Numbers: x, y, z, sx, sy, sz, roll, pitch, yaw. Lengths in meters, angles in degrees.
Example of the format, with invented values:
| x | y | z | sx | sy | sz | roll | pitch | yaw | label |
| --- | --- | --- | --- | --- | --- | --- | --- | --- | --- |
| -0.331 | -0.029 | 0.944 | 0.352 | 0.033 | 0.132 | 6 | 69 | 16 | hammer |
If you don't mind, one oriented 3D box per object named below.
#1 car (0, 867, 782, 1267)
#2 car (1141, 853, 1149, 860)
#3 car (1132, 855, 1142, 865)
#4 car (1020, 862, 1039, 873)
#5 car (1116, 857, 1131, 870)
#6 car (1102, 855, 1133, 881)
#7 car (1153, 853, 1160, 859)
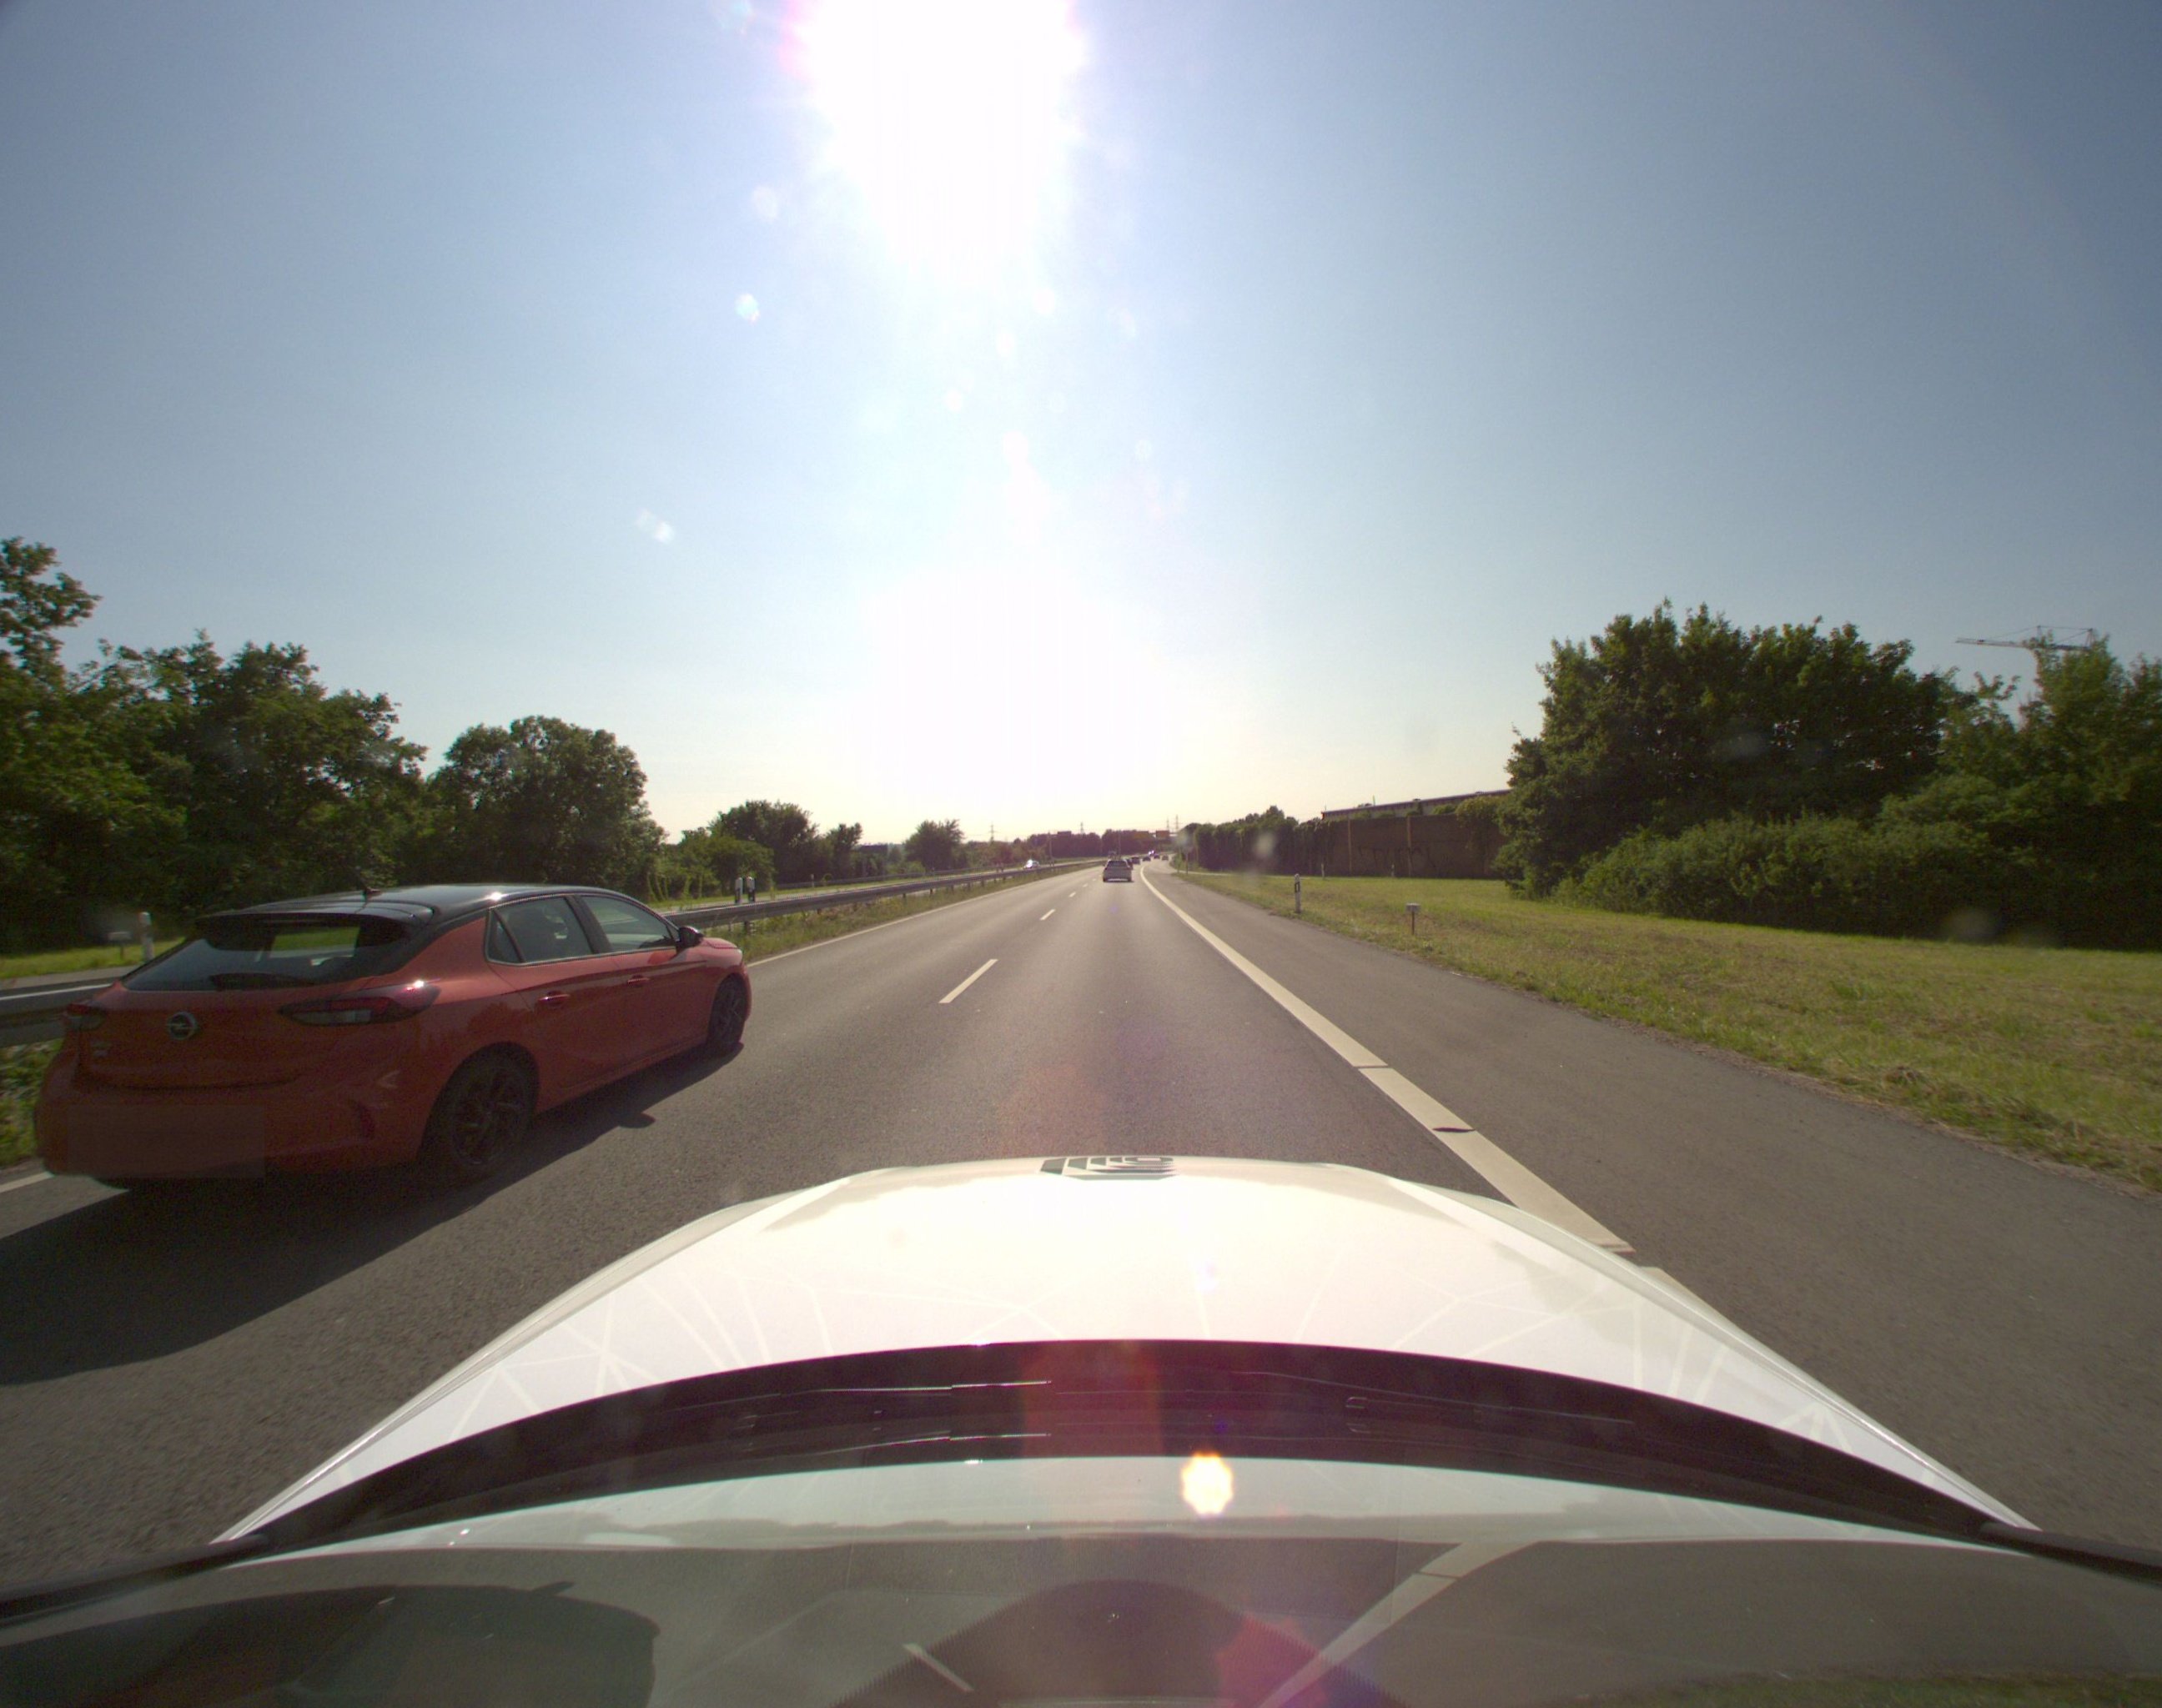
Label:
| x | y | z | sx | sy | sz | roll | pitch | yaw | label |
| --- | --- | --- | --- | --- | --- | --- | --- | --- | --- |
| -3.667 | 0.845 | 5.276 | 1.703 | 1.437 | 4.413 | -2 | -1 | 1 | car |
| 15.512 | 0.599 | 198.156 | 1.832 | 1.802 | 4.006 | -1 | 0 | 5 | car |
| 10.055 | 1.146 | 145.972 | 1.760 | 1.736 | 3.638 | -1 | 0 | 6 | car |
| -6.621 | 1.712 | 105.200 | 1.793 | 1.420 | 4.680 | 0 | -1 | 3 | car |
| 5.260 | 1.167 | 99.916 | 1.785 | 1.543 | 3.675 | -1 | 0 | 4 | car |
| 2.353 | 0.884 | 53.729 | 1.951 | 1.601 | 4.109 | 0 | 1 | 2 | car |
| 22.479 | 0.479 | 242.946 | 1.831 | 1.698 | 4.009 | -1 | 0 | 8 | car |
